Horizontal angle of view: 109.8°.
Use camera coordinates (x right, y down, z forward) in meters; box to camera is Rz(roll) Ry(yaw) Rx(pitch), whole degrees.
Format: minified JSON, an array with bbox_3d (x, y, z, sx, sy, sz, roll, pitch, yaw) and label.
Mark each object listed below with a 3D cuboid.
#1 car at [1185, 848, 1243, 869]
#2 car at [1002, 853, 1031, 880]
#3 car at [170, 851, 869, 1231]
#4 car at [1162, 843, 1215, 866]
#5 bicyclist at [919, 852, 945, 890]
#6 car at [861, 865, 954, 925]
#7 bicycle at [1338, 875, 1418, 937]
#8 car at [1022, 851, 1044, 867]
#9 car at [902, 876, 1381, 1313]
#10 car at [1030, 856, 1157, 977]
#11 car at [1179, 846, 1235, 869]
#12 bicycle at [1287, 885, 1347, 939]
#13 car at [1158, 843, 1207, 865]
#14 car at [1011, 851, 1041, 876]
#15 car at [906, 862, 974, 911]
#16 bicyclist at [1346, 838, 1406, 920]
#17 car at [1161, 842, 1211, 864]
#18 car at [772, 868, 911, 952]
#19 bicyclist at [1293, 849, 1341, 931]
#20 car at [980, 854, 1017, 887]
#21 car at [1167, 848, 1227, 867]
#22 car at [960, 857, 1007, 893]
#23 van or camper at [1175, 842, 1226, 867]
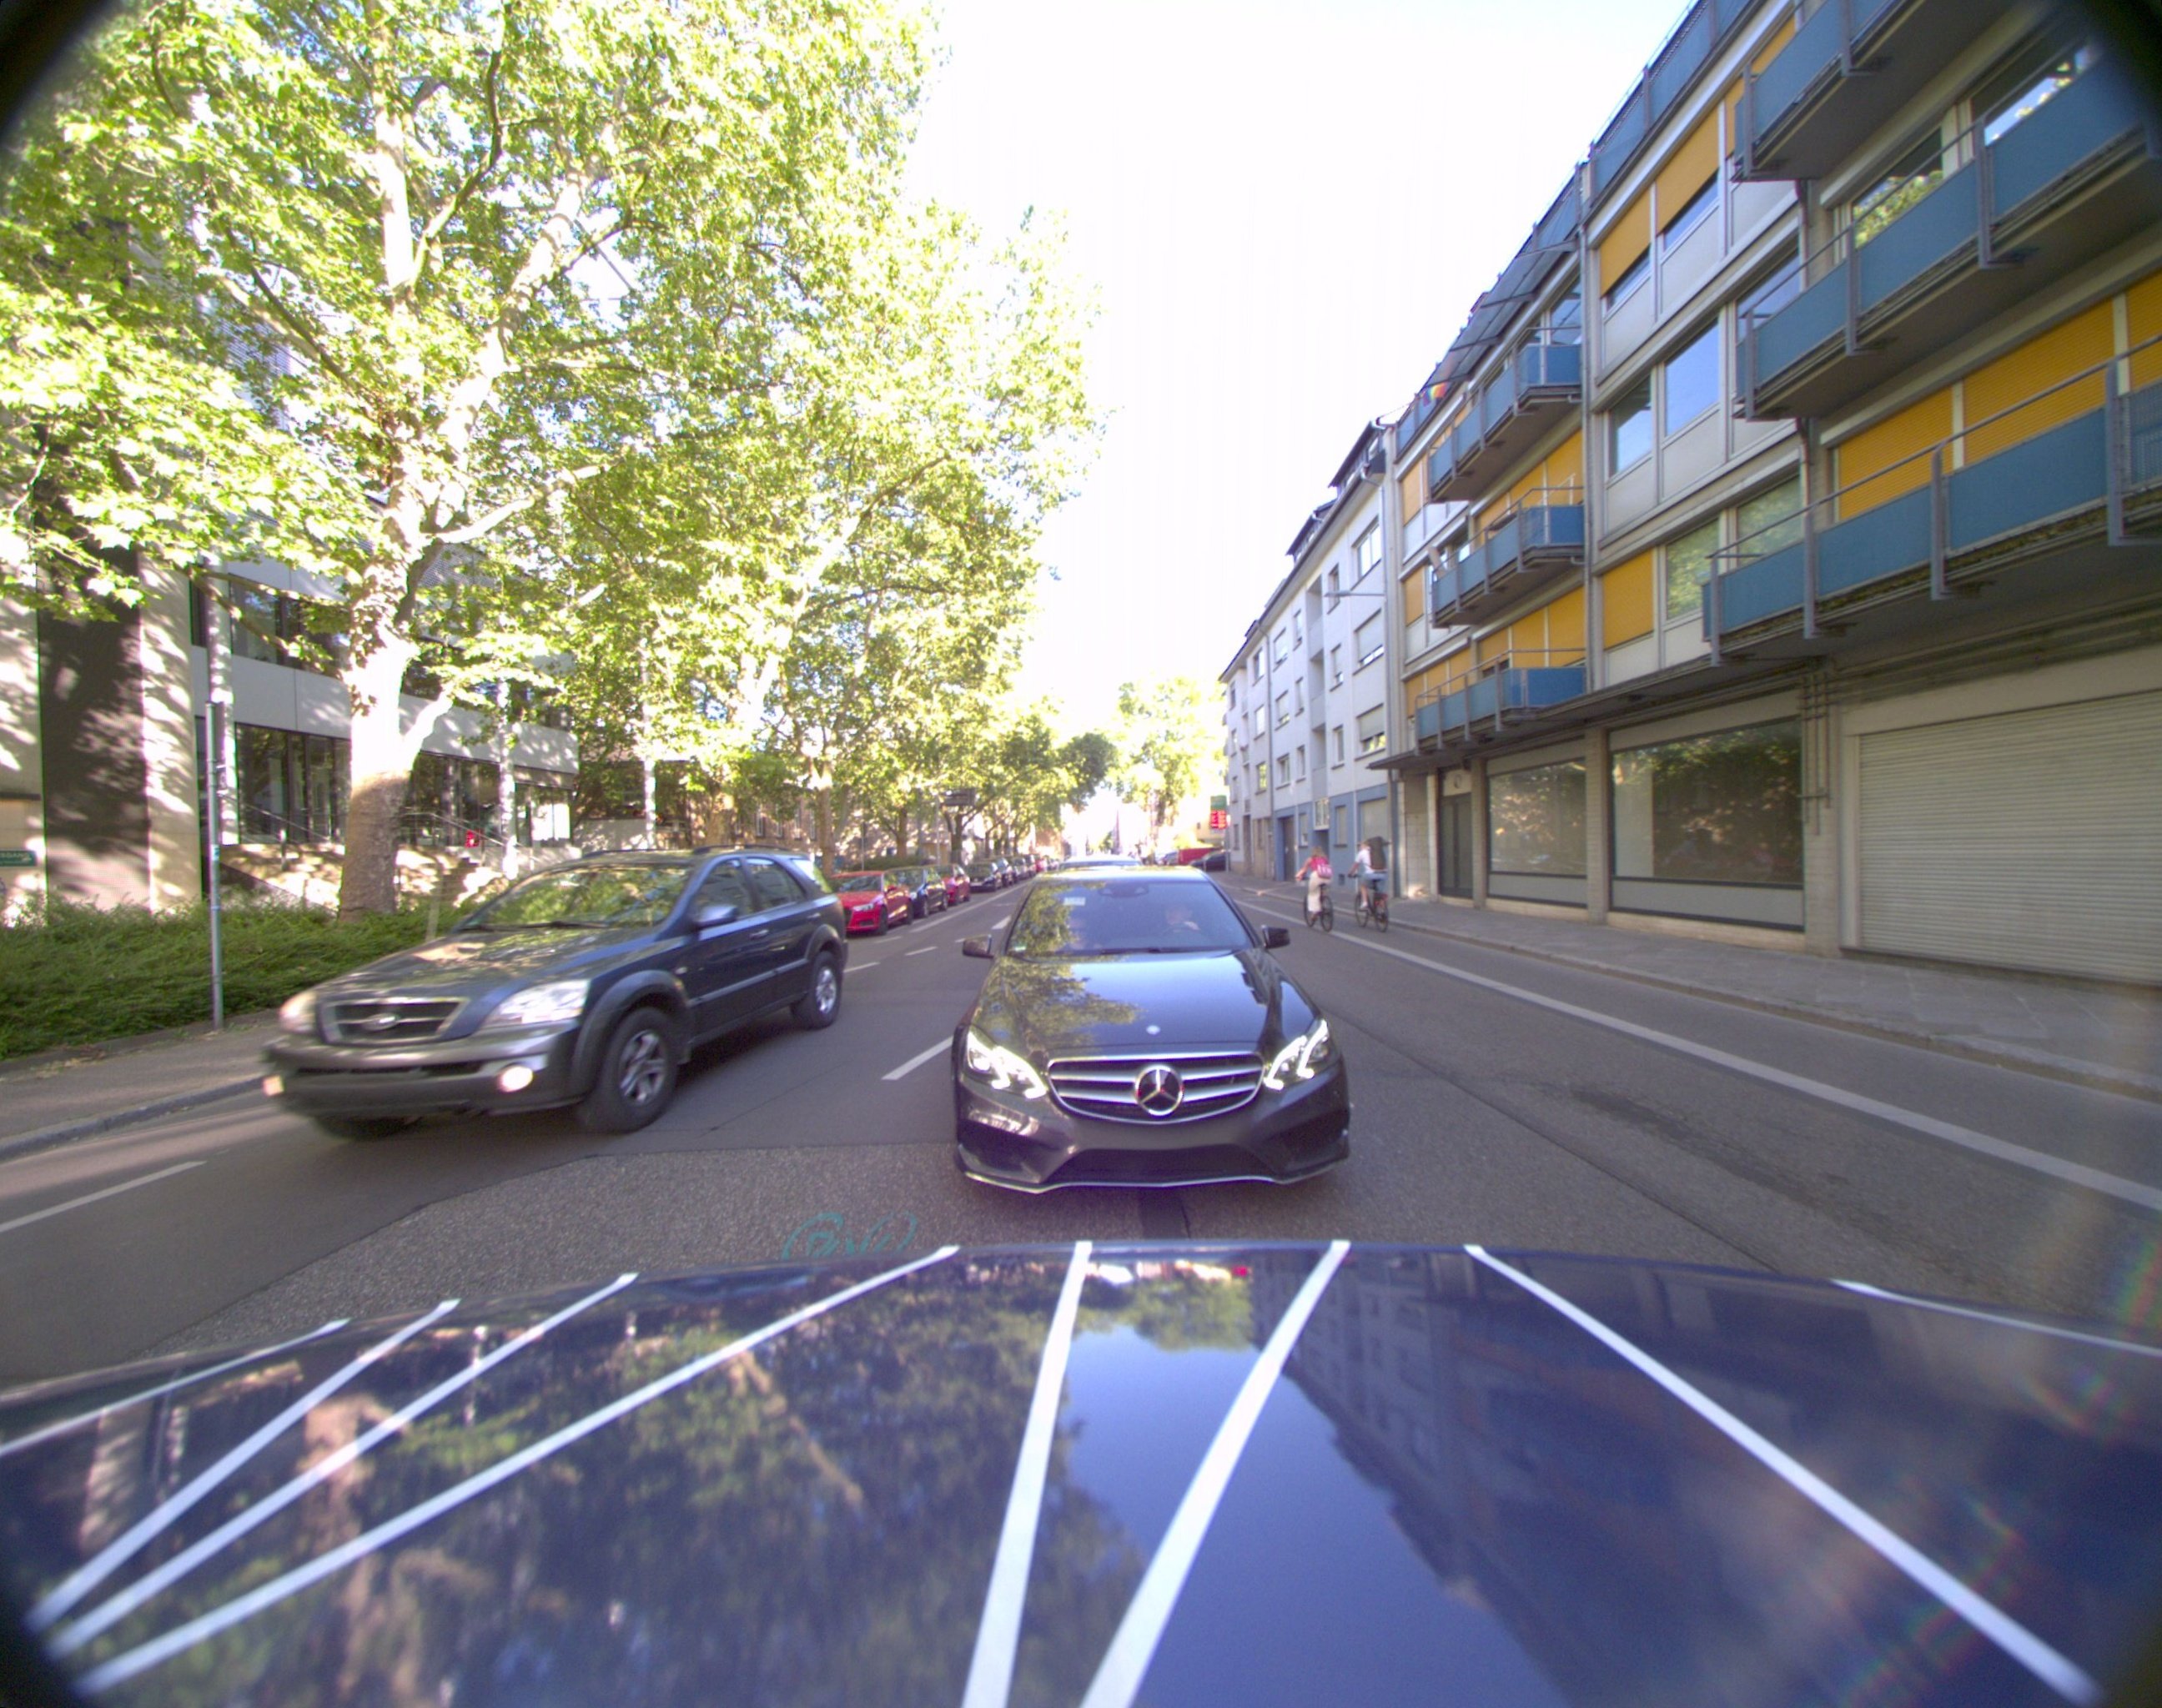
[{"bbox_3d":[10.313,0.327,58.961,4.146,1.486,2.000,-2,0,1],"label":"car"},{"bbox_3d":[-4.614,0.871,54.746,1.741,1.785,3.895,-2,0,0],"label":"car"},{"bbox_3d":[-3.354,0.917,5.860,1.784,1.760,4.385,-3,0,5],"label":"car"},{"bbox_3d":[10.912,0.029,77.339,4.990,2.181,2.000,-2,1,1],"label":"car"},{"bbox_3d":[-6.558,0.734,33.467,1.038,1.610,0.697,-2,1,-10],"label":"bicyclist"},{"bbox_3d":[-5.037,1.137,22.632,1.741,1.444,4.091,-4,0,0],"label":"car"},{"bbox_3d":[5.825,0.995,15.026,0.865,1.072,1.836,-2,0,1],"label":"bicycle"},{"bbox_3d":[-4.385,0.441,70.445,1.741,1.469,4.091,-2,0,0],"label":"car"},{"bbox_3d":[0.223,0.951,4.761,1.740,1.448,3.864,-2,0,0],"label":"car"},{"bbox_3d":[0.200,0.860,12.637,1.646,1.520,4.619,-4,0,1],"label":"car"},{"bbox_3d":[10.136,0.272,61.292,4.146,1.681,2.000,-2,0,1],"label":"car"},{"bbox_3d":[4.700,1.125,15.248,0.695,0.924,1.863,-2,0,3],"label":"bicycle"},{"bbox_3d":[11.036,-0.004,82.822,4.990,2.181,2.000,-2,1,1],"label":"car"},{"bbox_3d":[-4.280,0.724,59.848,1.992,1.795,4.376,-2,0,0],"label":"car"},{"bbox_3d":[-5.046,1.124,27.690,1.681,1.484,3.918,-4,0,0],"label":"car"},{"bbox_3d":[5.793,0.484,14.973,0.844,1.546,0.839,-2,1,2],"label":"bicyclist"},{"bbox_3d":[11.032,-0.098,80.190,4.990,2.181,2.000,-2,1,1],"label":"car"},{"bbox_3d":[-5.354,1.185,17.593,1.830,1.519,4.142,-4,0,0],"label":"car"},{"bbox_3d":[4.679,0.697,15.107,0.686,1.569,0.982,-2,1,4],"label":"bicyclist"},{"bbox_3d":[-4.544,0.879,42.375,1.634,1.677,3.907,-2,0,0],"label":"car"},{"bbox_3d":[10.159,0.288,66.701,4.990,1.486,2.000,-2,0,1],"label":"car"},{"bbox_3d":[-4.724,0.993,37.392,1.741,1.622,4.091,-2,0,0],"label":"car"},{"bbox_3d":[10.057,0.027,64.198,3.997,2.002,2.000,-2,1,0],"label":"van or camper"}]
